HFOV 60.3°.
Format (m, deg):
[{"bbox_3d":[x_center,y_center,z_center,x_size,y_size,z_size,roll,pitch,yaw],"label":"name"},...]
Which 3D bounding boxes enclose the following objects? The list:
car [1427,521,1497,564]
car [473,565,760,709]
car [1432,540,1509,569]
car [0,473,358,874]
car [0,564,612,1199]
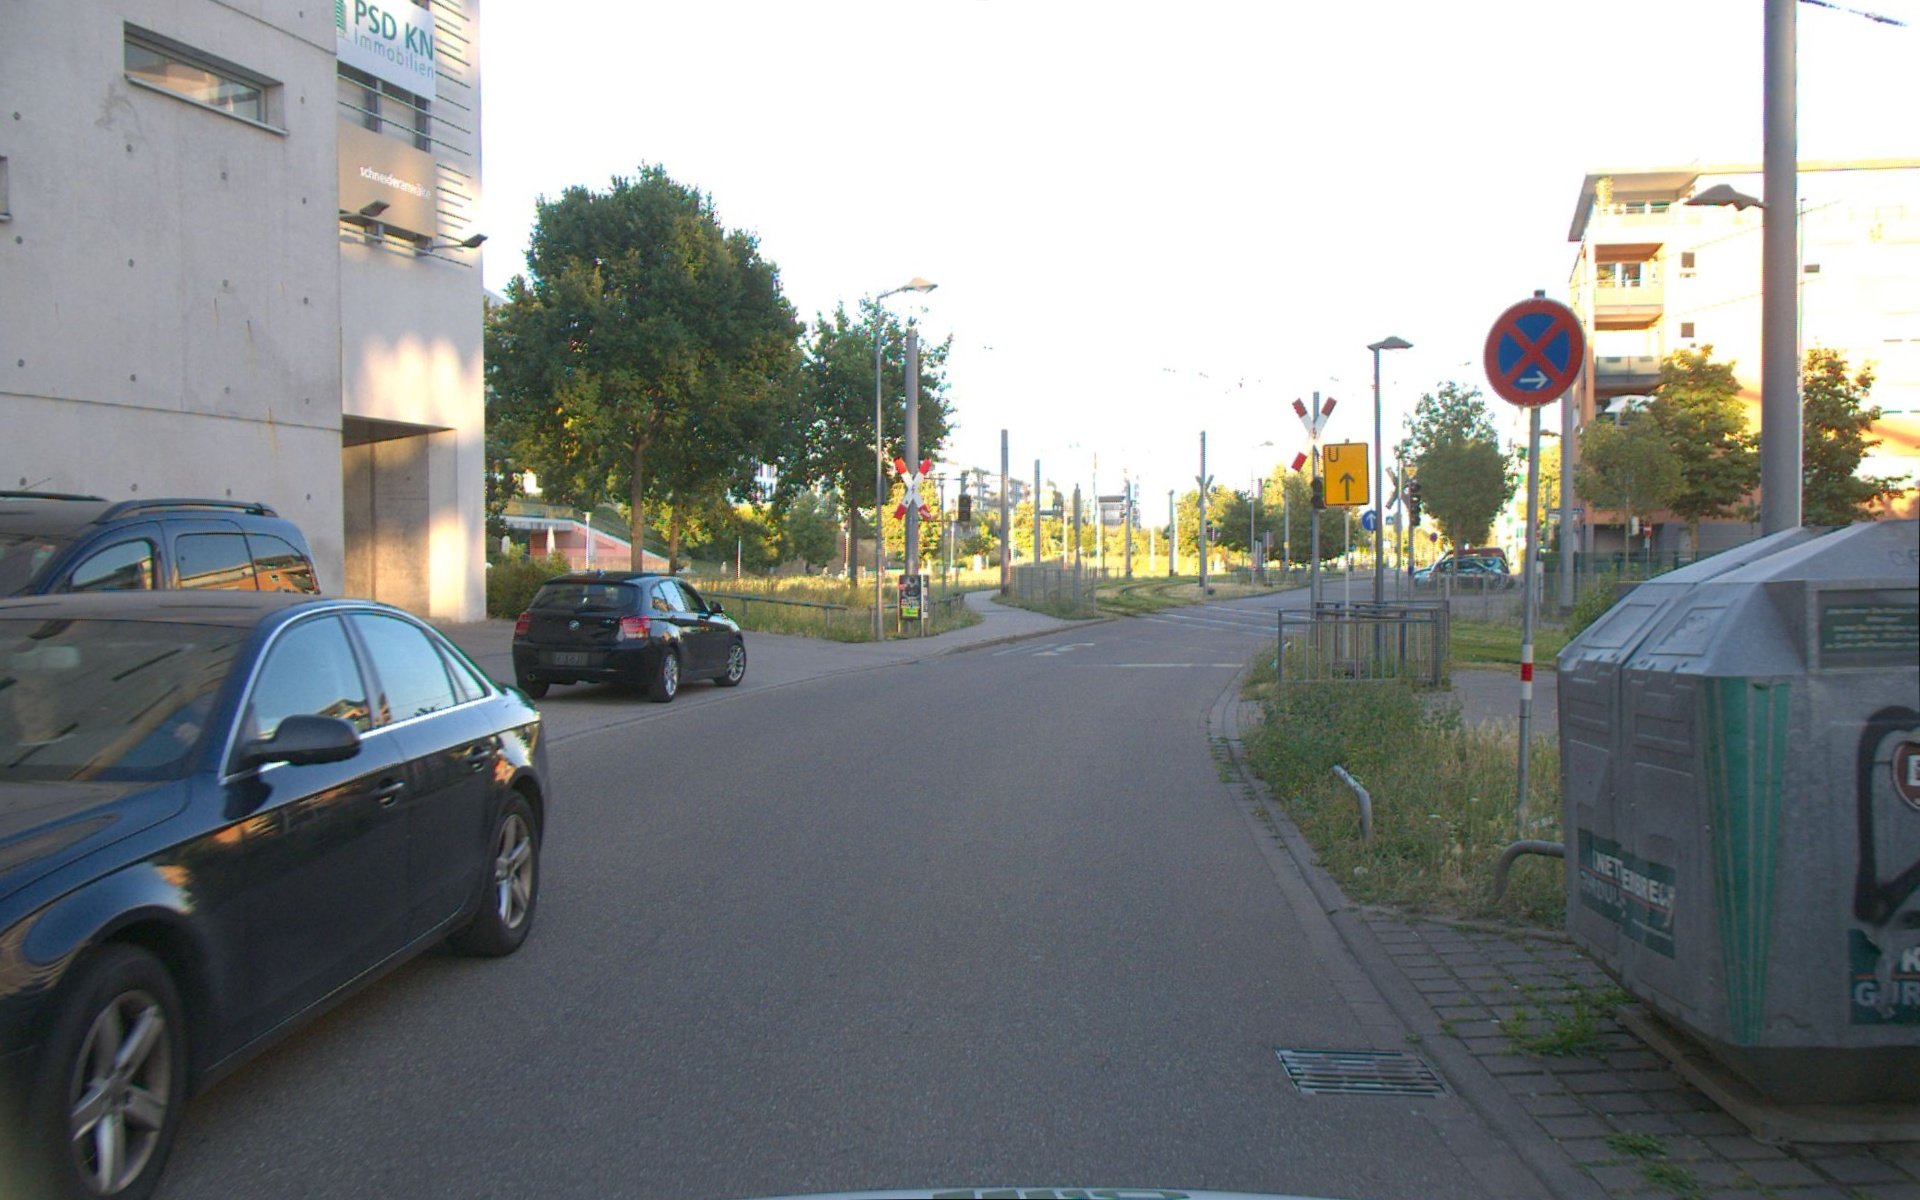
[{"bbox_3d":[31.194,-3.575,102.932,4.065,2.629,1.705,0,1,13],"label":"car"},{"bbox_3d":[-3.877,0.340,19.503,1.903,1.406,4.403,2,2,8],"label":"car"},{"bbox_3d":[28.395,-2.518,92.026,4.066,1.603,1.704,0,1,17],"label":"car"},{"bbox_3d":[-5.080,0.276,8.708,1.720,1.829,4.467,2,2,7],"label":"car"},{"bbox_3d":[-2.562,0.628,5.103,1.741,1.447,4.518,0,1,4],"label":"car"}]
